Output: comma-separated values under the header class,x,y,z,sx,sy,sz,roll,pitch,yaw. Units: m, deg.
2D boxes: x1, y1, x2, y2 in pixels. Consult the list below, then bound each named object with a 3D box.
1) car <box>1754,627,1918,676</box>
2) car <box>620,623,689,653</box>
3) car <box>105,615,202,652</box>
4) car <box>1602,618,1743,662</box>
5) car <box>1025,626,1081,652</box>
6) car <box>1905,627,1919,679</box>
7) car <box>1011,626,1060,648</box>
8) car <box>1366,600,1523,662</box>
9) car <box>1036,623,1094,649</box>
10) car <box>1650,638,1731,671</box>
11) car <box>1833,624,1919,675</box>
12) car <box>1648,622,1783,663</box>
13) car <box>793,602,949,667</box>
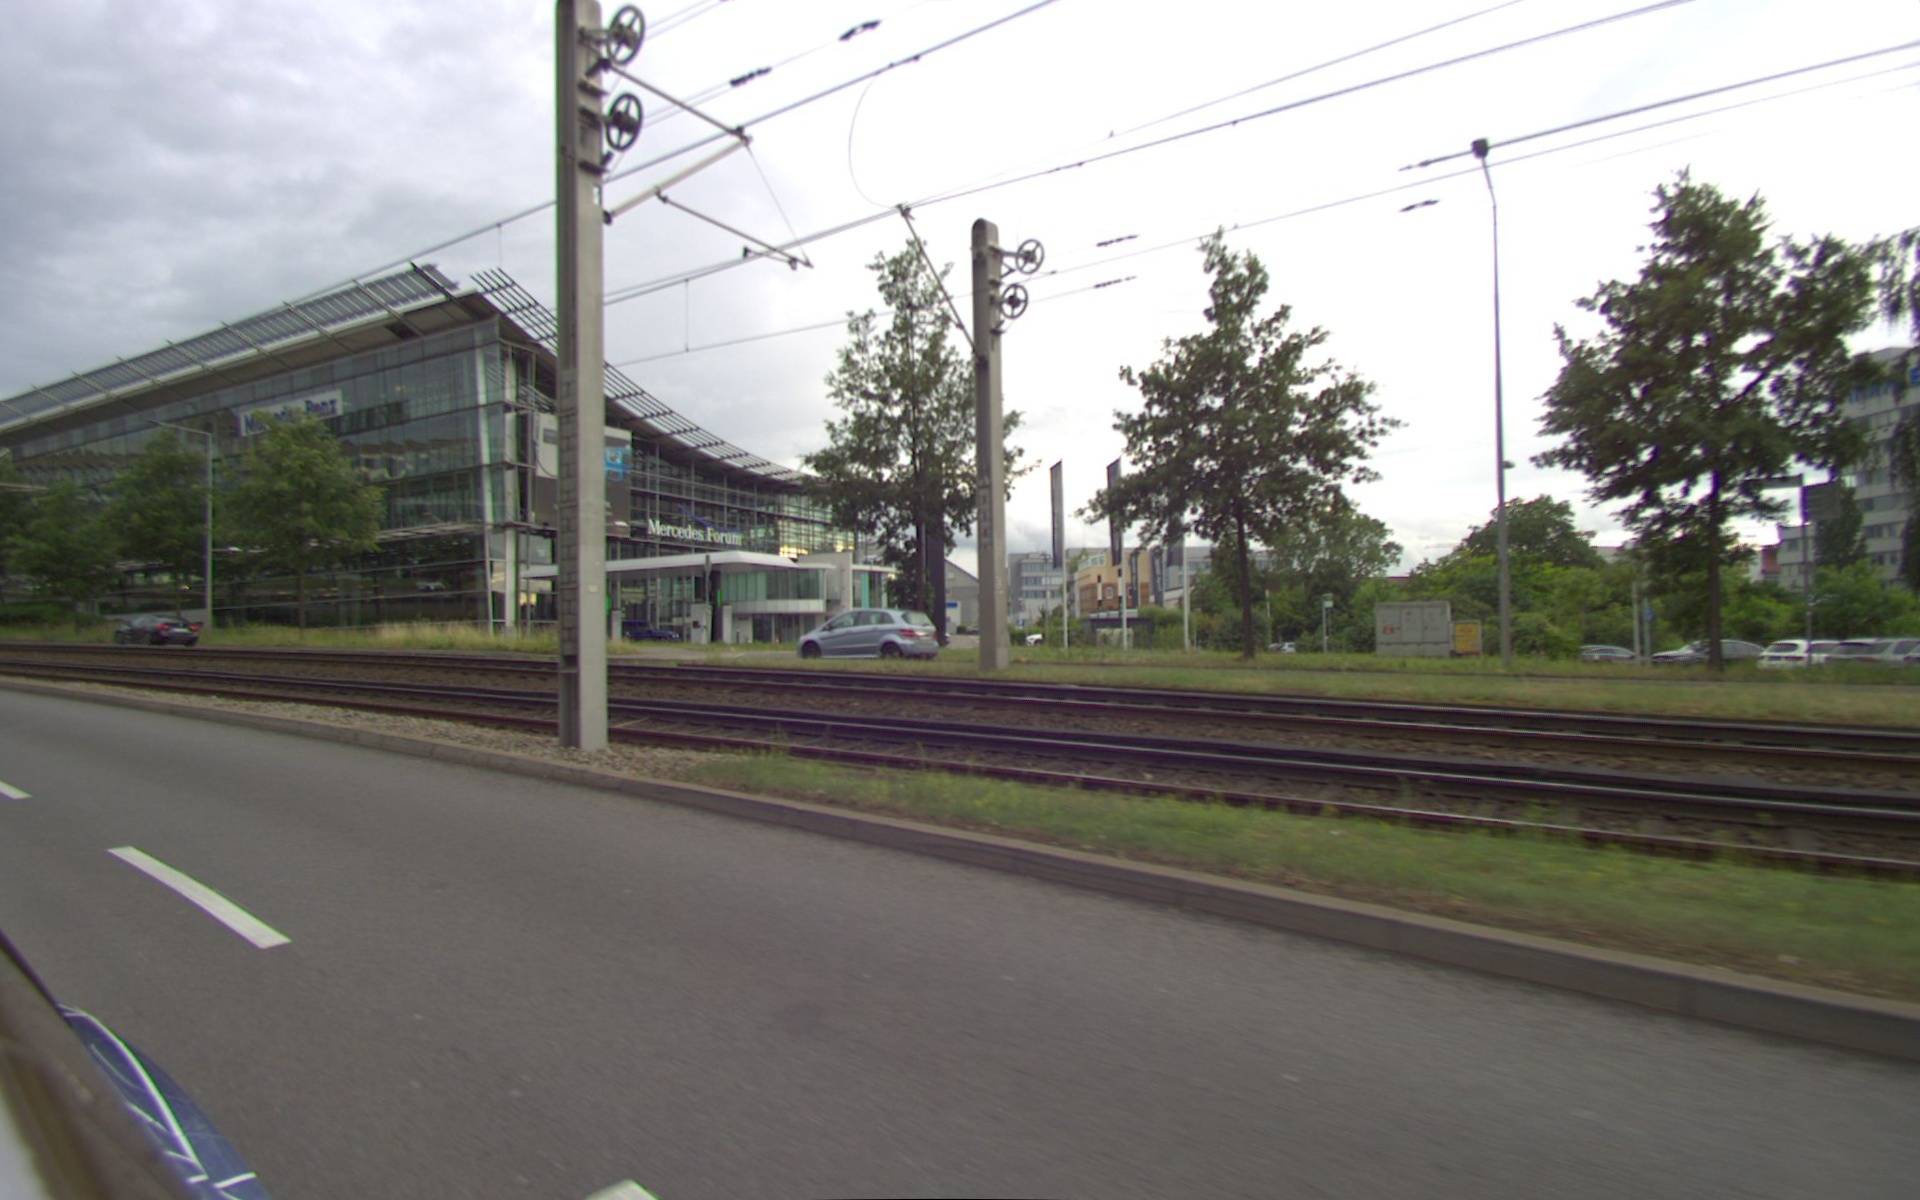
class,x,y,z,sx,sy,sz,roll,pitch,yaw
car,30.333,1.758,35.136,3.952,1.505,1.754,1,0,7
car,-19.839,2.461,65.806,3.945,1.864,1.894,1,0,1
car,-35.808,1.506,44.909,4.386,1.532,1.869,-1,-5,30
car,27.276,1.509,38.842,3.946,1.521,1.999,1,0,3
car,6.890,2.892,75.127,3.944,1.741,2.000,1,1,0
car,30.555,1.612,29.580,3.952,1.505,1.754,1,0,7
car,6.395,3.139,86.150,3.944,1.741,2.000,1,1,0
car,14.392,0.869,30.110,3.988,1.663,1.978,1,1,33
car,7.457,2.546,72.256,3.944,1.741,2.000,1,1,0
car,42.746,3.137,59.321,1.971,1.686,3.715,1,0,-2
car,30.745,1.591,32.351,3.952,1.505,1.754,1,0,7
car,30.290,1.698,40.665,3.952,1.505,1.754,1,0,7
car,-2.511,0.938,28.433,3.985,1.692,1.979,-1,-1,31
